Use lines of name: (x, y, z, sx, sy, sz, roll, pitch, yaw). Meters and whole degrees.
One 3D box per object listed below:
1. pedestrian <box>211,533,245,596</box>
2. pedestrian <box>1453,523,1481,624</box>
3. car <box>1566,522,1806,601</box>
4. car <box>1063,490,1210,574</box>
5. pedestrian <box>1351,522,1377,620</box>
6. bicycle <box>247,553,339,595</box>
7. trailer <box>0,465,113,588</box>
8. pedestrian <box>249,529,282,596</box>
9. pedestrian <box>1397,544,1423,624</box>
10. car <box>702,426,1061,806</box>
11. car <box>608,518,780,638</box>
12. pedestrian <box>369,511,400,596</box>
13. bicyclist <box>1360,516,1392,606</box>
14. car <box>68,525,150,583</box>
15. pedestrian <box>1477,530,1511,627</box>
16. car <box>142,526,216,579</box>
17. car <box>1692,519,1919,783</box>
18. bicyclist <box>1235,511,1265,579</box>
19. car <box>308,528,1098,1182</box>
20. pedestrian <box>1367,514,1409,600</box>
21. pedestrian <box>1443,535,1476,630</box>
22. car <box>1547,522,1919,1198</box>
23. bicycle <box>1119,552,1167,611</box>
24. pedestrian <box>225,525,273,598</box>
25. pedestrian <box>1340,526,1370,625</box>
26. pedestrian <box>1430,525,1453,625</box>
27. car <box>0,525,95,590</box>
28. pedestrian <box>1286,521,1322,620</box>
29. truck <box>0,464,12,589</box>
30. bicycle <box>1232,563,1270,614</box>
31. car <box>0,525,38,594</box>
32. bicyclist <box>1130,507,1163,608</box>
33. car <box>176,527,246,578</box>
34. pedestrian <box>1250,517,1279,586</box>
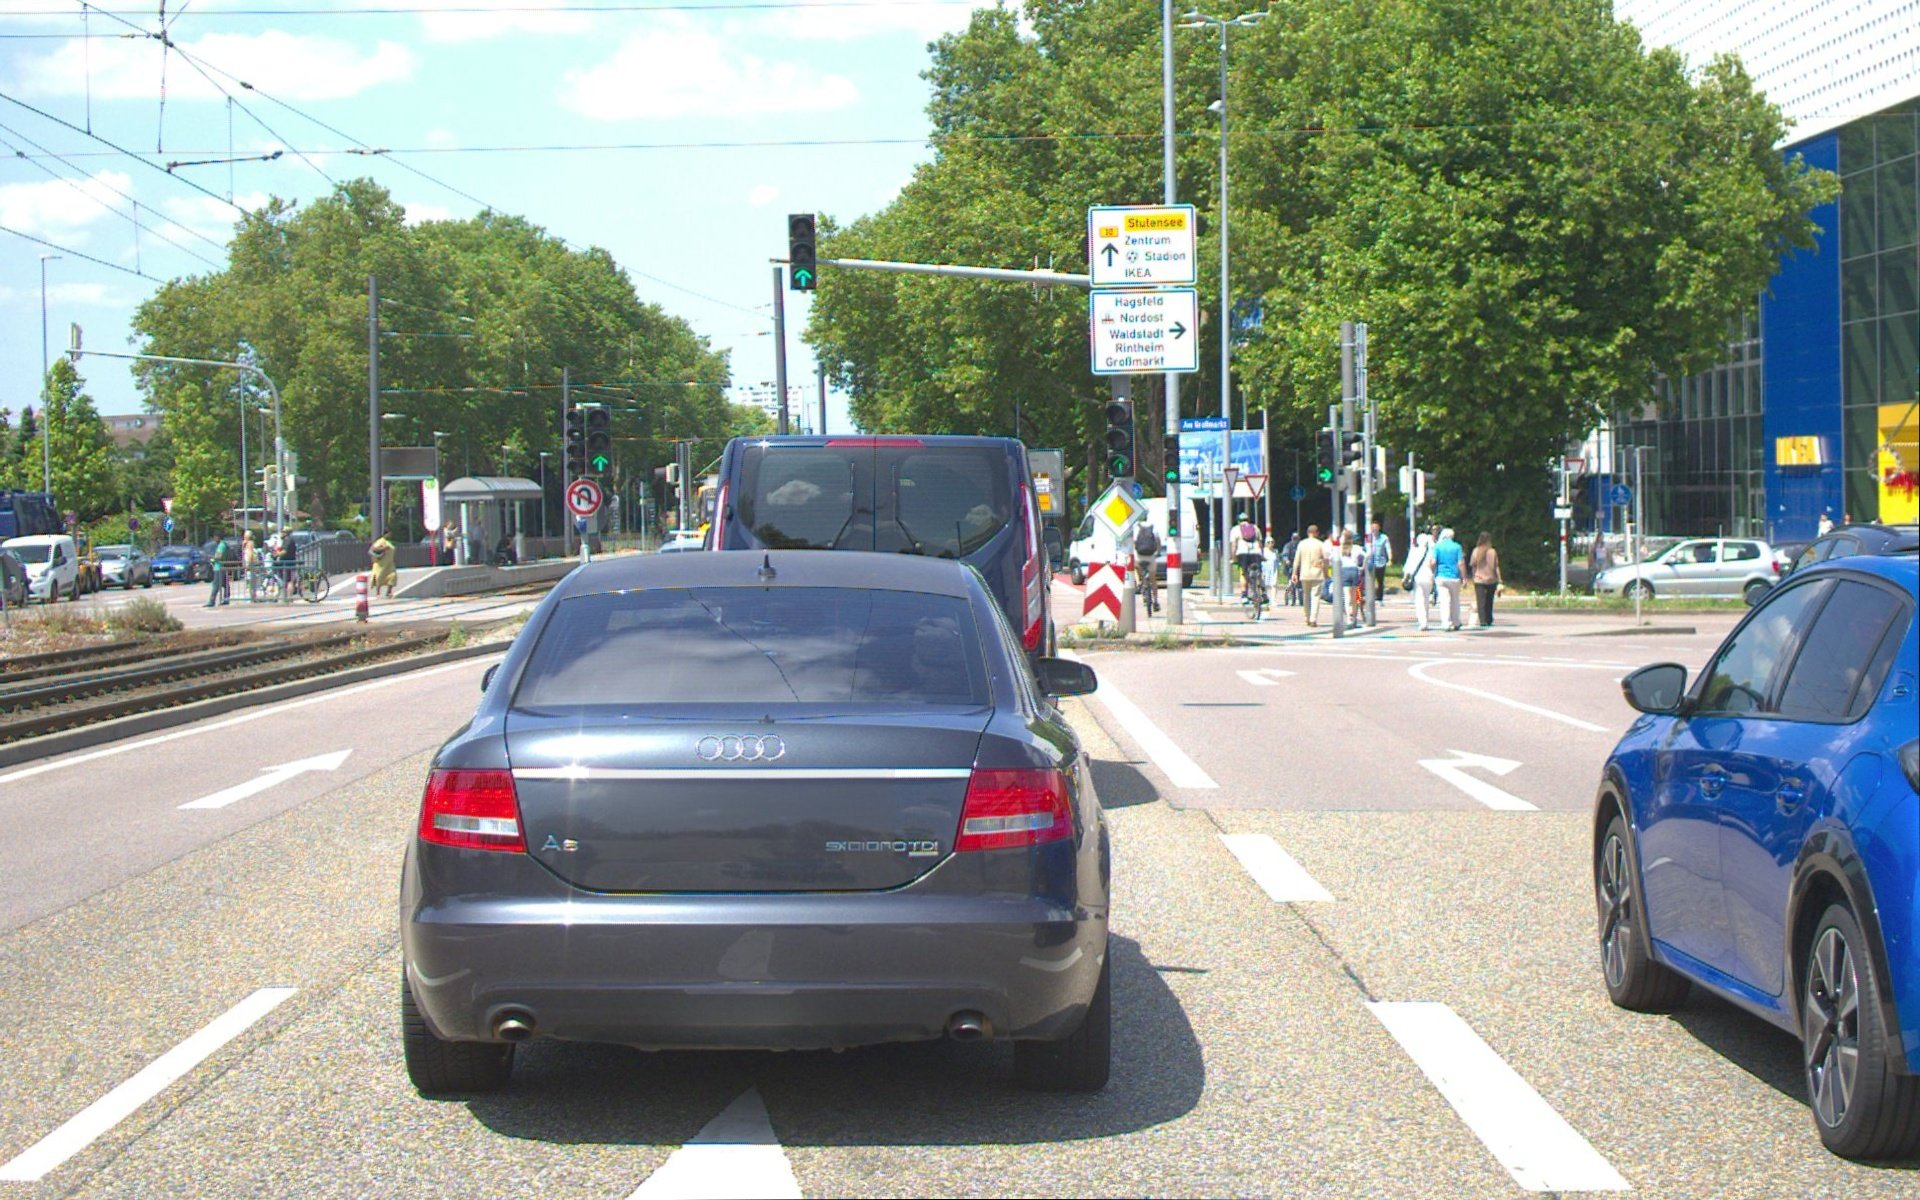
pedestrian: (-16.844, -0.817, 79.134, 0.685, 1.438, 0.573, 0, 1, -4)
pedestrian: (8.270, -0.435, 56.123, 0.398, 1.629, 0.371, 0, 1, 3)
car: (14.746, -0.798, 70.054, 4.498, 1.481, 2.000, 1, 1, 3)
car: (4.886, -1.899, 95.856, 1.993, 2.301, 4.776, 0, 1, -27)
pedestrian: (6.731, -0.492, 57.315, 0.381, 1.629, 0.377, 0, 1, 3)
bicycle: (-15.170, -0.591, 78.214, 2.055, 0.922, 0.753, 0, 1, -10)
trailer: (-28.756, -2.209, 103.540, 2.767, 3.506, 15.879, 0, 1, -1)
pedestrian: (-16.203, -0.886, 80.244, 0.685, 1.559, 0.573, 0, 1, -4)
pedestrian: (7.359, -0.268, 56.201, 0.372, 1.299, 0.365, 0, 1, 3)
car: (-0.426, 0.049, 19.601, 1.836, 1.943, 4.000, 0, 1, -1)
car: (-3.519, -0.330, 46.112, 1.993, 1.481, 4.000, 1, 2, 0)
pedestrian: (-13.689, -1.111, 81.805, 0.685, 2.007, 0.573, 0, 1, -4)
bicyclist: (8.141, -0.766, 67.203, 0.529, 1.758, 0.827, 0, 1, 13)
car: (-28.448, -1.560, 115.019, 1.817, 1.876, 4.000, 0, 1, -1)
pedestrian: (9.243, -0.373, 59.515, 0.521, 1.664, 0.494, 0, 1, 3)
car: (-28.317, -1.728, 124.666, 1.817, 1.876, 4.000, 0, 1, -1)
car: (5.968, 0.249, 21.878, 1.761, 1.521, 4.100, 0, 1, 0)
bicyclist: (5.134, -0.979, 60.850, 0.470, 1.189, 0.791, 0, 1, 0)
car: (-0.605, 0.549, 9.937, 1.792, 1.450, 4.000, -1, 2, 0)
pedestrian: (9.281, -0.932, 74.555, 0.685, 1.840, 0.706, 1, 1, 25)
pedestrian: (8.652, -0.305, 59.530, 0.504, 1.629, 0.449, 0, 1, 3)
car: (2.907, 0.541, 9.465, 1.837, 1.449, 4.000, 1, 2, 0)
bicycle: (3.238, -0.345, 61.011, 0.688, 0.990, 2.752, 0, 1, 0)
pedestrian: (-16.911, -0.913, 81.792, 0.824, 1.714, 0.774, 1, 1, 22)
pedestrian: (6.510, -0.406, 56.688, 0.445, 1.629, 0.430, 0, 1, 3)
pedestrian: (7.847, -0.413, 56.069, 0.320, 1.629, 0.377, 0, 1, 3)
car: (-25.092, -1.176, 93.681, 1.822, 1.664, 4.461, 1, 1, 1)
pedestrian: (5.678, -0.494, 56.761, 0.554, 1.629, 0.433, 0, 1, 3)
truck: (-28.656, -2.047, 95.783, 2.767, 3.557, 6.440, 0, 1, -1)
bicycle: (5.151, -0.211, 60.874, 0.550, 0.874, 1.697, 0, 1, 1)
car: (-24.751, -1.041, 86.640, 1.822, 1.664, 4.462, 1, 1, 0)
bicyclist: (3.308, -0.753, 61.086, 0.528, 1.783, 1.088, 0, 1, 0)
car: (-28.291, -1.817, 129.985, 1.817, 1.876, 4.000, 0, 1, -1)
pedestrian: (6.715, -1.080, 75.871, 0.494, 1.514, 0.706, 1, 1, 17)
